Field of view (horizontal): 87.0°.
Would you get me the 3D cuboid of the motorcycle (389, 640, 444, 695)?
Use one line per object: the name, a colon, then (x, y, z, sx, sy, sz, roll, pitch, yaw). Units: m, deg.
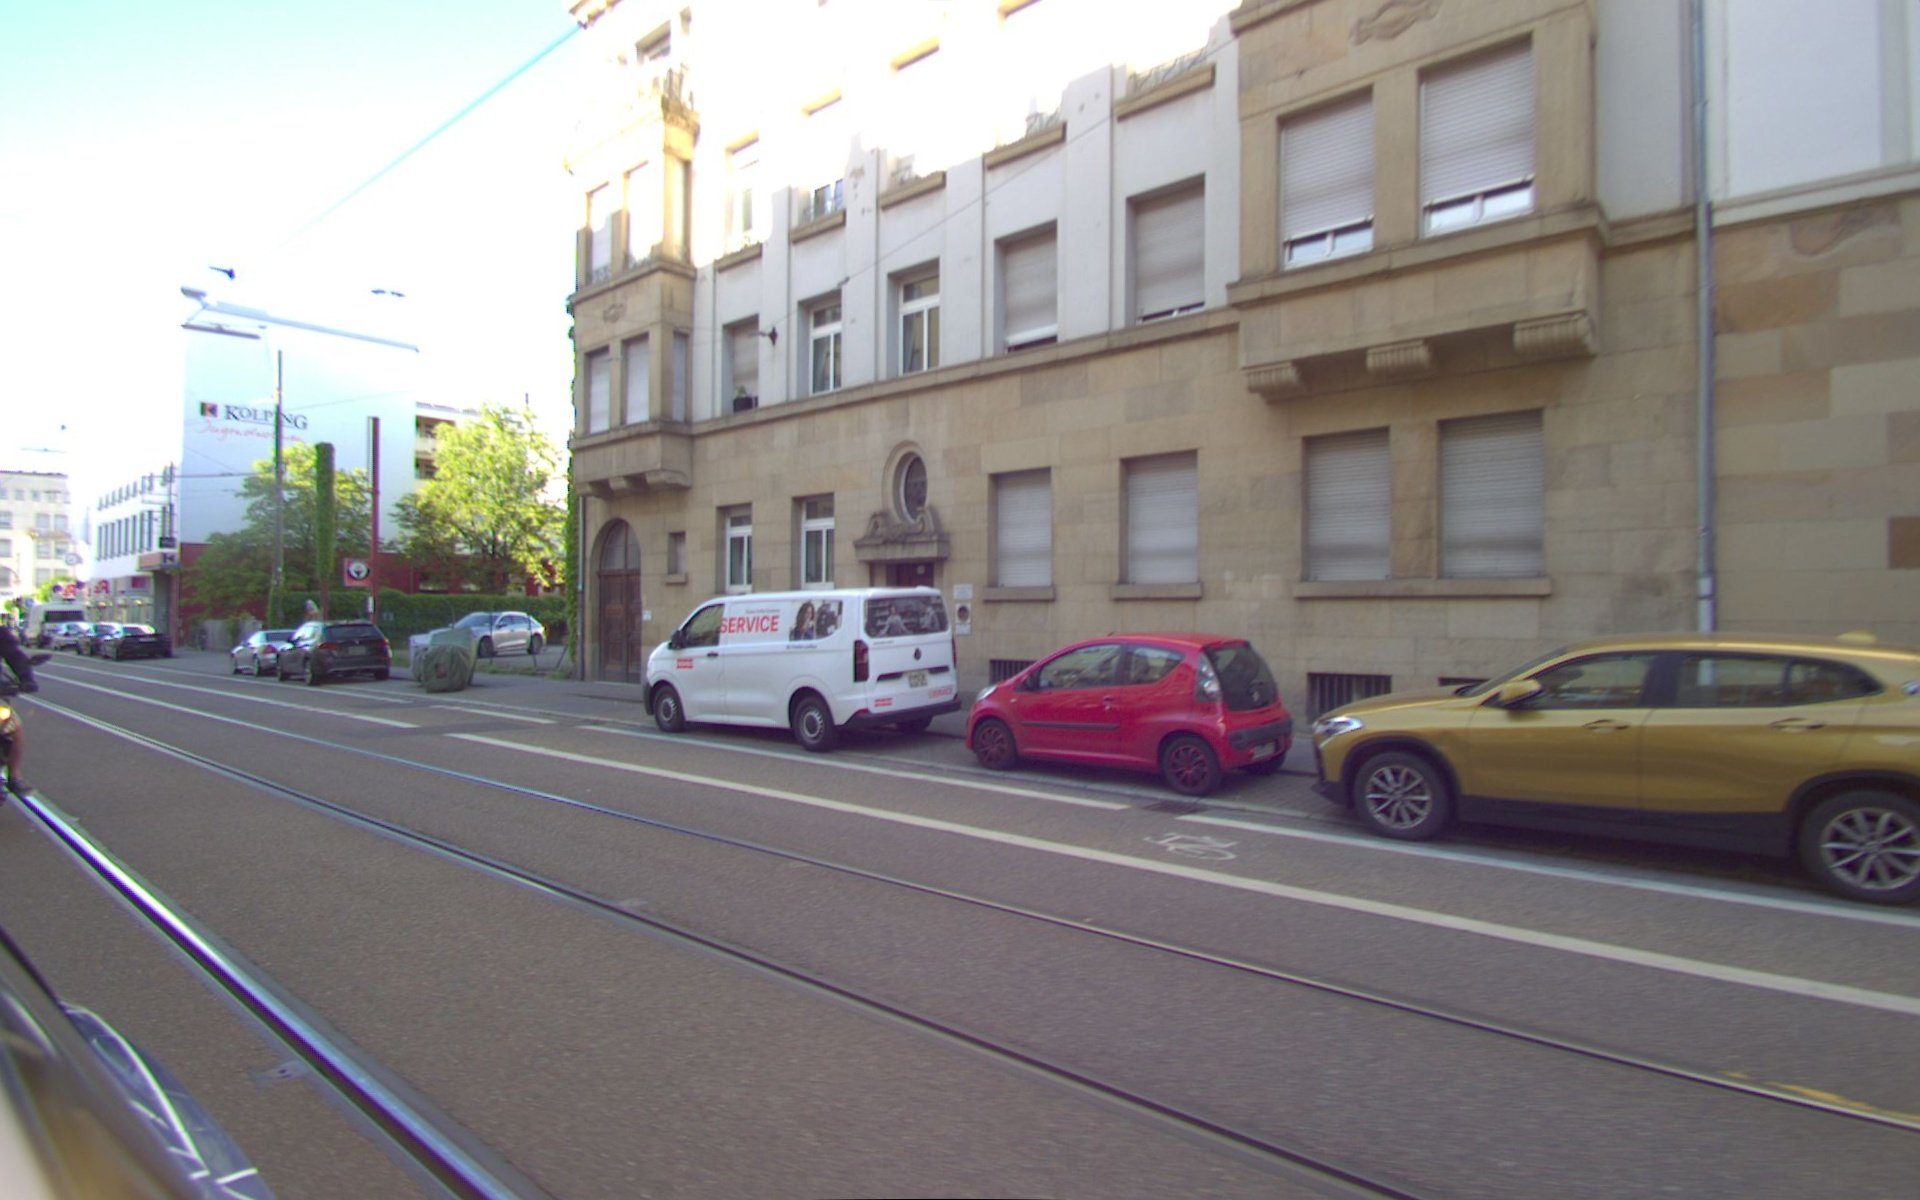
motorcycle: (-12.398, 1.514, 23.148, 0.729, 1.180, 2.187, 1, -2, -19)

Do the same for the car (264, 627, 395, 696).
car: (-16.283, 1.501, 26.035, 4.611, 1.577, 1.763, -1, -1, 43)

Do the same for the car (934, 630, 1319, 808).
car: (1.607, 1.071, 10.466, 3.644, 1.484, 1.586, -1, -1, 41)

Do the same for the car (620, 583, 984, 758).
car: (-2.323, 0.835, 13.794, 5.248, 1.963, 1.953, -1, -1, 40)

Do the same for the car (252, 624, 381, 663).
car: (-27.729, 1.840, 43.694, 2.000, 1.610, 4.314, -2, -2, 42)

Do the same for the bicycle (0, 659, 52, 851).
bicycle: (-6.983, 1.038, 7.092, 1.752, 1.208, 0.757, -2, -3, 44)

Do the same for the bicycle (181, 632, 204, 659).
bicycle: (-35.280, 2.077, 46.519, 2.050, 1.183, 0.435, -1, -2, 42)

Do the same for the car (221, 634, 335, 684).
car: (-20.007, 1.677, 29.618, 4.219, 1.324, 1.764, -1, -1, 41)

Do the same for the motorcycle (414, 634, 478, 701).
motorcycle: (-11.045, 1.410, 21.821, 0.871, 1.361, 1.963, 1, -2, -17)

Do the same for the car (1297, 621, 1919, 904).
car: (4.865, 0.940, 7.163, 4.357, 1.535, 1.765, -1, -1, 40)

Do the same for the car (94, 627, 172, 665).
car: (-34.343, 1.877, 41.977, 4.840, 1.457, 1.764, -1, -1, 42)

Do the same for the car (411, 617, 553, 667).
car: (-15.662, 1.369, 33.477, 1.977, 1.529, 4.785, 0, -2, 8)

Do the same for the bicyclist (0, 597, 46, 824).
bicyclist: (-7.029, 0.759, 7.129, 0.939, 1.552, 0.764, -2, -3, 44)

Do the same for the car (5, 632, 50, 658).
car: (-58.022, 2.770, 62.944, 3.992, 1.564, 1.764, -1, -1, 43)

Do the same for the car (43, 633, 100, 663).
car: (-45.464, 2.427, 51.756, 4.444, 1.409, 1.764, -1, -1, 43)

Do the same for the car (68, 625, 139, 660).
car: (-38.724, 1.893, 45.713, 4.697, 1.492, 1.765, -1, -1, 41)

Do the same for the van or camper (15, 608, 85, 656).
van or camper: (-50.785, 1.762, 56.430, 6.228, 2.486, 2.149, -1, -1, 41)
